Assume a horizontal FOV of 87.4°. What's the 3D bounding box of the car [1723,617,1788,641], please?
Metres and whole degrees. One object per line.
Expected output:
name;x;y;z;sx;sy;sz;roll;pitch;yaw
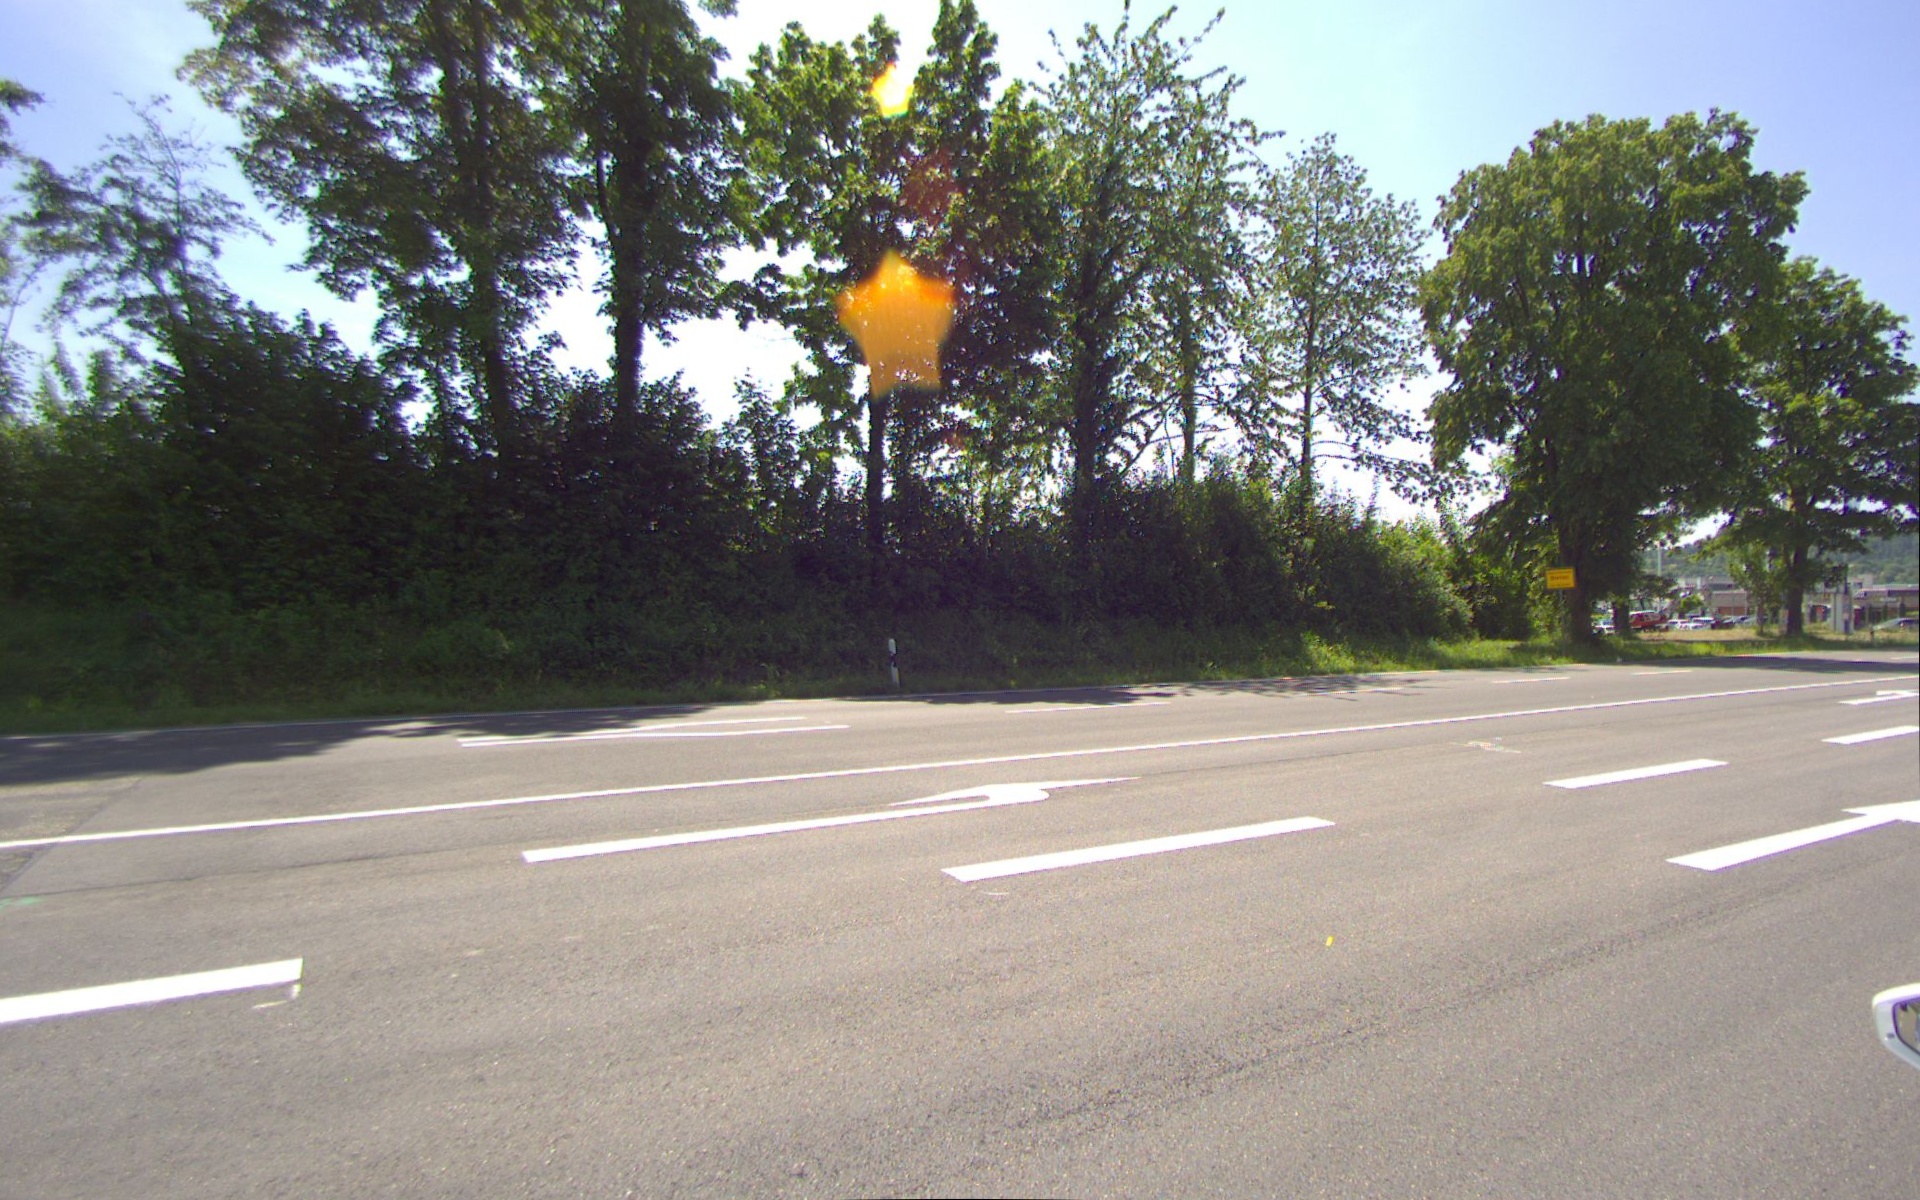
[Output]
car;57.427;2.064;72.600;1.803;1.639;4.002;1;0;6

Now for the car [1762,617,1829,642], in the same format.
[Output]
car;60.135;2.081;72.389;1.803;1.639;4.002;1;0;6

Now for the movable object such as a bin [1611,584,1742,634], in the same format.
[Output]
movable object such as a bin;48.879;0.602;68.724;6.654;3.342;3.054;0;0;9

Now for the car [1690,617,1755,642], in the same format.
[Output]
car;55.254;2.124;72.891;1.959;1.673;4.002;1;0;6

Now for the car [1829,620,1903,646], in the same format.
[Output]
car;63.110;2.288;70.042;1.803;1.639;4.002;1;0;6
